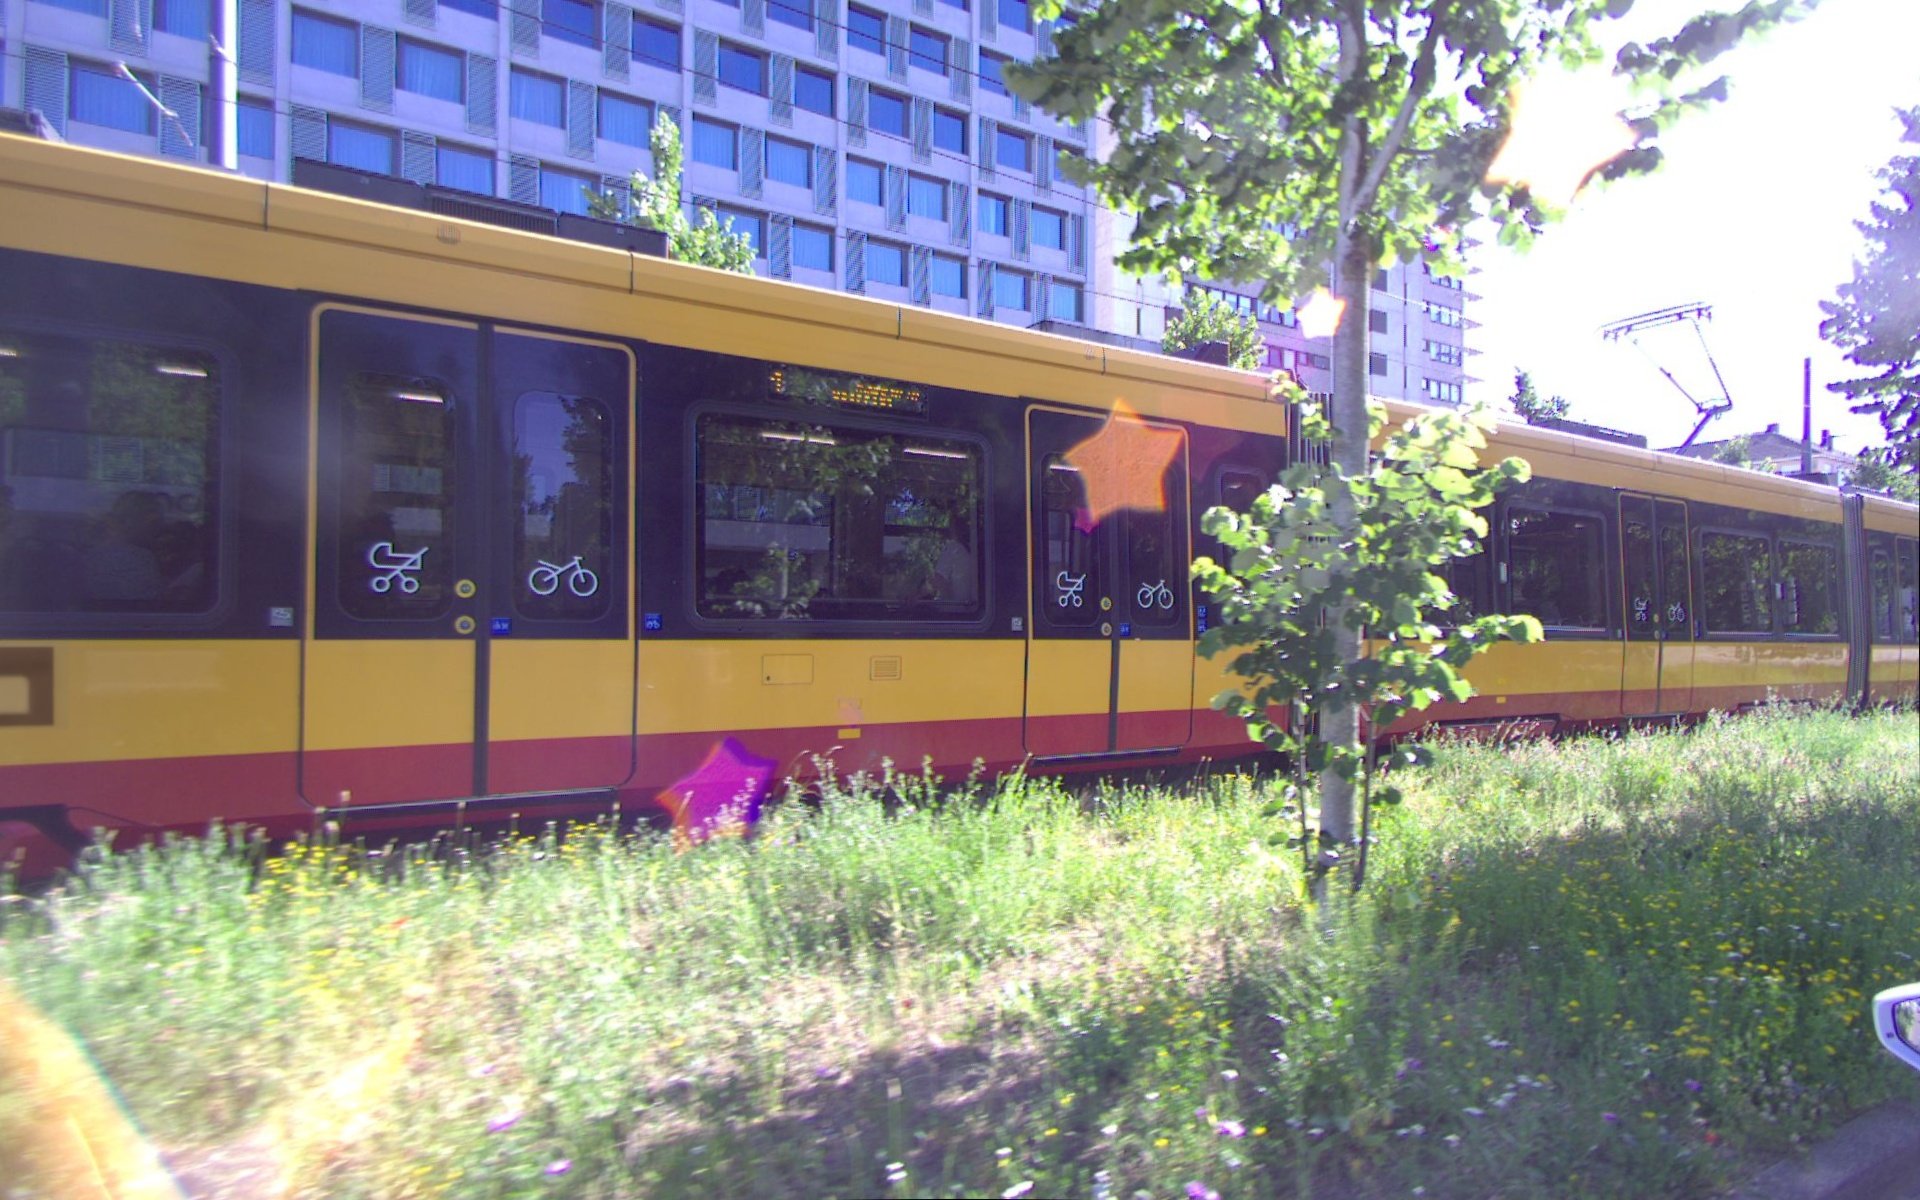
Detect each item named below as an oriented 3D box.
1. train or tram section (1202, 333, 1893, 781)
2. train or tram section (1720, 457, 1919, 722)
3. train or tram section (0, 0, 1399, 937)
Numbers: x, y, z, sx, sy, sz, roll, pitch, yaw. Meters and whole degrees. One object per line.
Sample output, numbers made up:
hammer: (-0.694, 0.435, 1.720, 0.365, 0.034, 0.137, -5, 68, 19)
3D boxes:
train or tram section: (7.748, -0.213, 12.061, 11.185, 3.718, 1.984, 2, -1, -31)
train or tram section: (17.489, 0.001, 17.882, 11.546, 3.718, 1.984, 2, -1, -30)
train or tram section: (-2.828, -0.502, 5.633, 13.990, 3.718, 1.983, 2, -1, -31)
